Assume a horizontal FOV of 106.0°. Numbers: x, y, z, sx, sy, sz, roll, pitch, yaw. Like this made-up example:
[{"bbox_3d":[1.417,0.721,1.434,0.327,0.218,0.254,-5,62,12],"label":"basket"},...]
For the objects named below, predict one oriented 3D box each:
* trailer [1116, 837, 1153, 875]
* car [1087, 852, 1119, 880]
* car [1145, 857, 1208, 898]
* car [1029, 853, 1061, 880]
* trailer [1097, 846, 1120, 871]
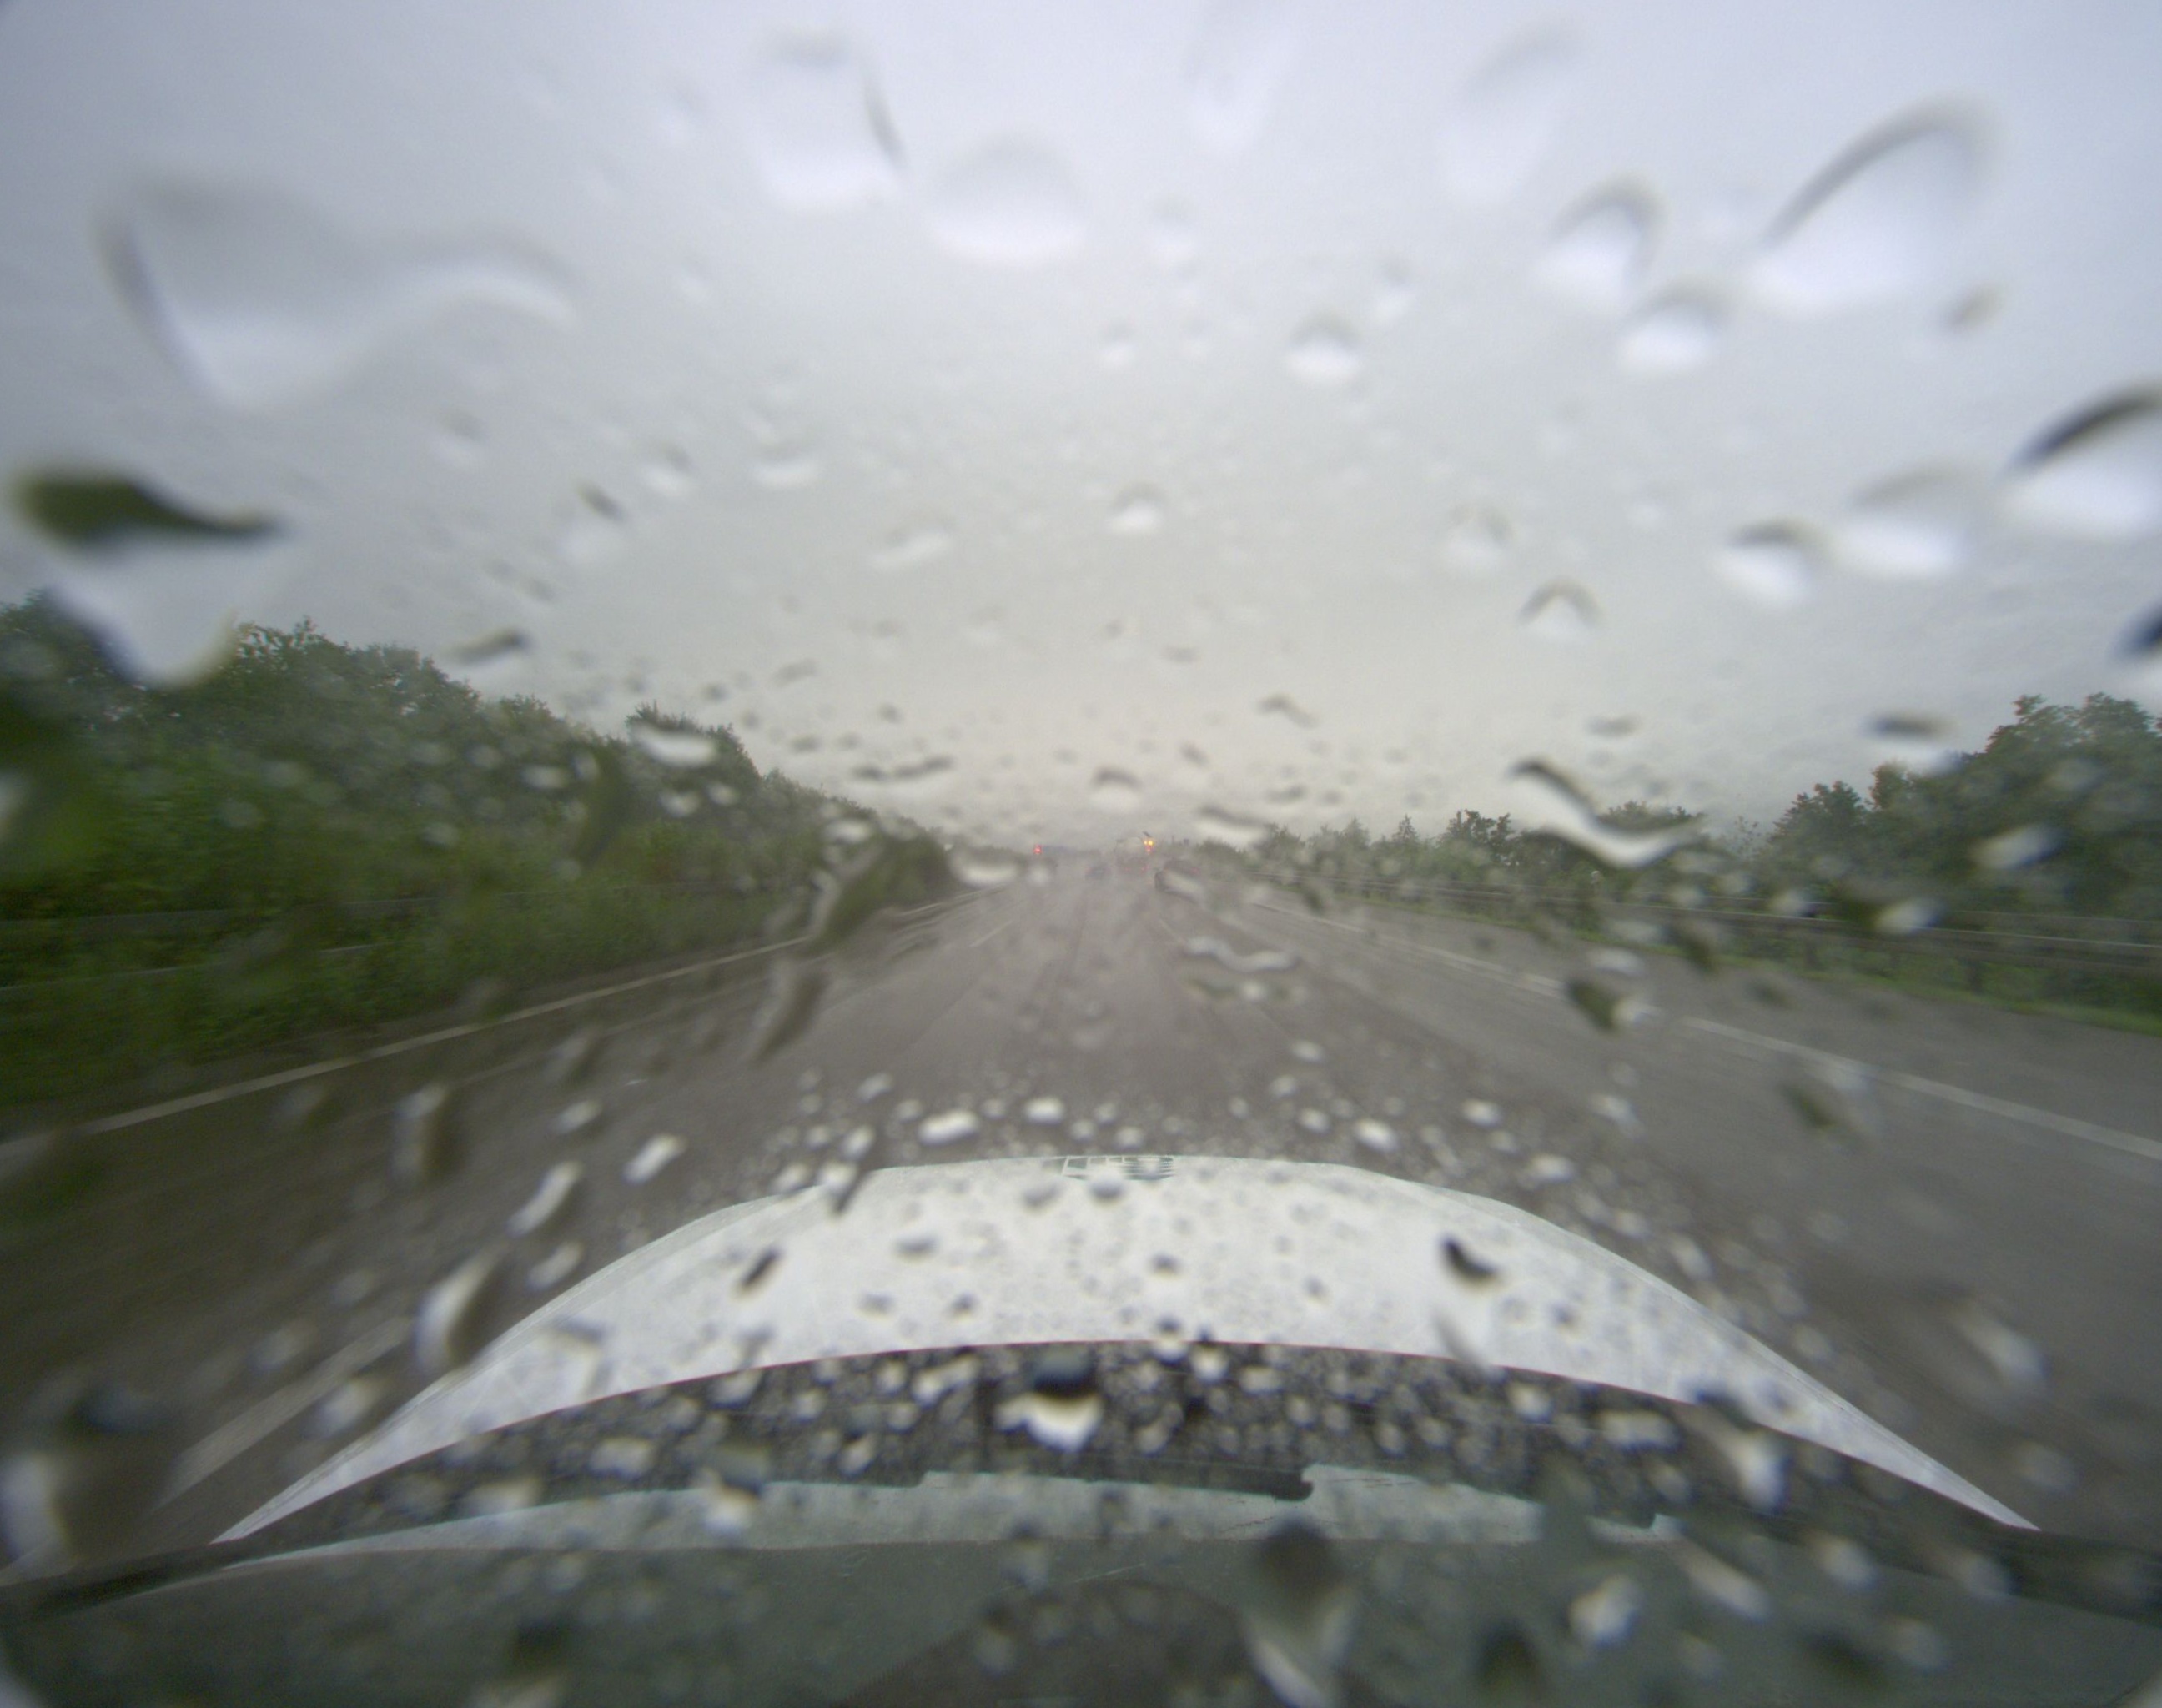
[{"bbox_3d":[5.478,0.231,85.009,3.177,3.670,11.666,-1,0,1],"label":"trailer"},{"bbox_3d":[1.424,0.761,53.582,1.972,1.756,4.481,-1,0,0],"label":"car"},{"bbox_3d":[4.337,1.036,37.905,2.448,1.746,5.721,-1,0,2],"label":"car"},{"bbox_3d":[-2.425,0.814,55.776,1.919,1.741,4.403,-1,0,0],"label":"car"},{"bbox_3d":[4.300,0.691,129.702,2.997,3.848,8.616,-1,0,-2],"label":"trailer"}]
